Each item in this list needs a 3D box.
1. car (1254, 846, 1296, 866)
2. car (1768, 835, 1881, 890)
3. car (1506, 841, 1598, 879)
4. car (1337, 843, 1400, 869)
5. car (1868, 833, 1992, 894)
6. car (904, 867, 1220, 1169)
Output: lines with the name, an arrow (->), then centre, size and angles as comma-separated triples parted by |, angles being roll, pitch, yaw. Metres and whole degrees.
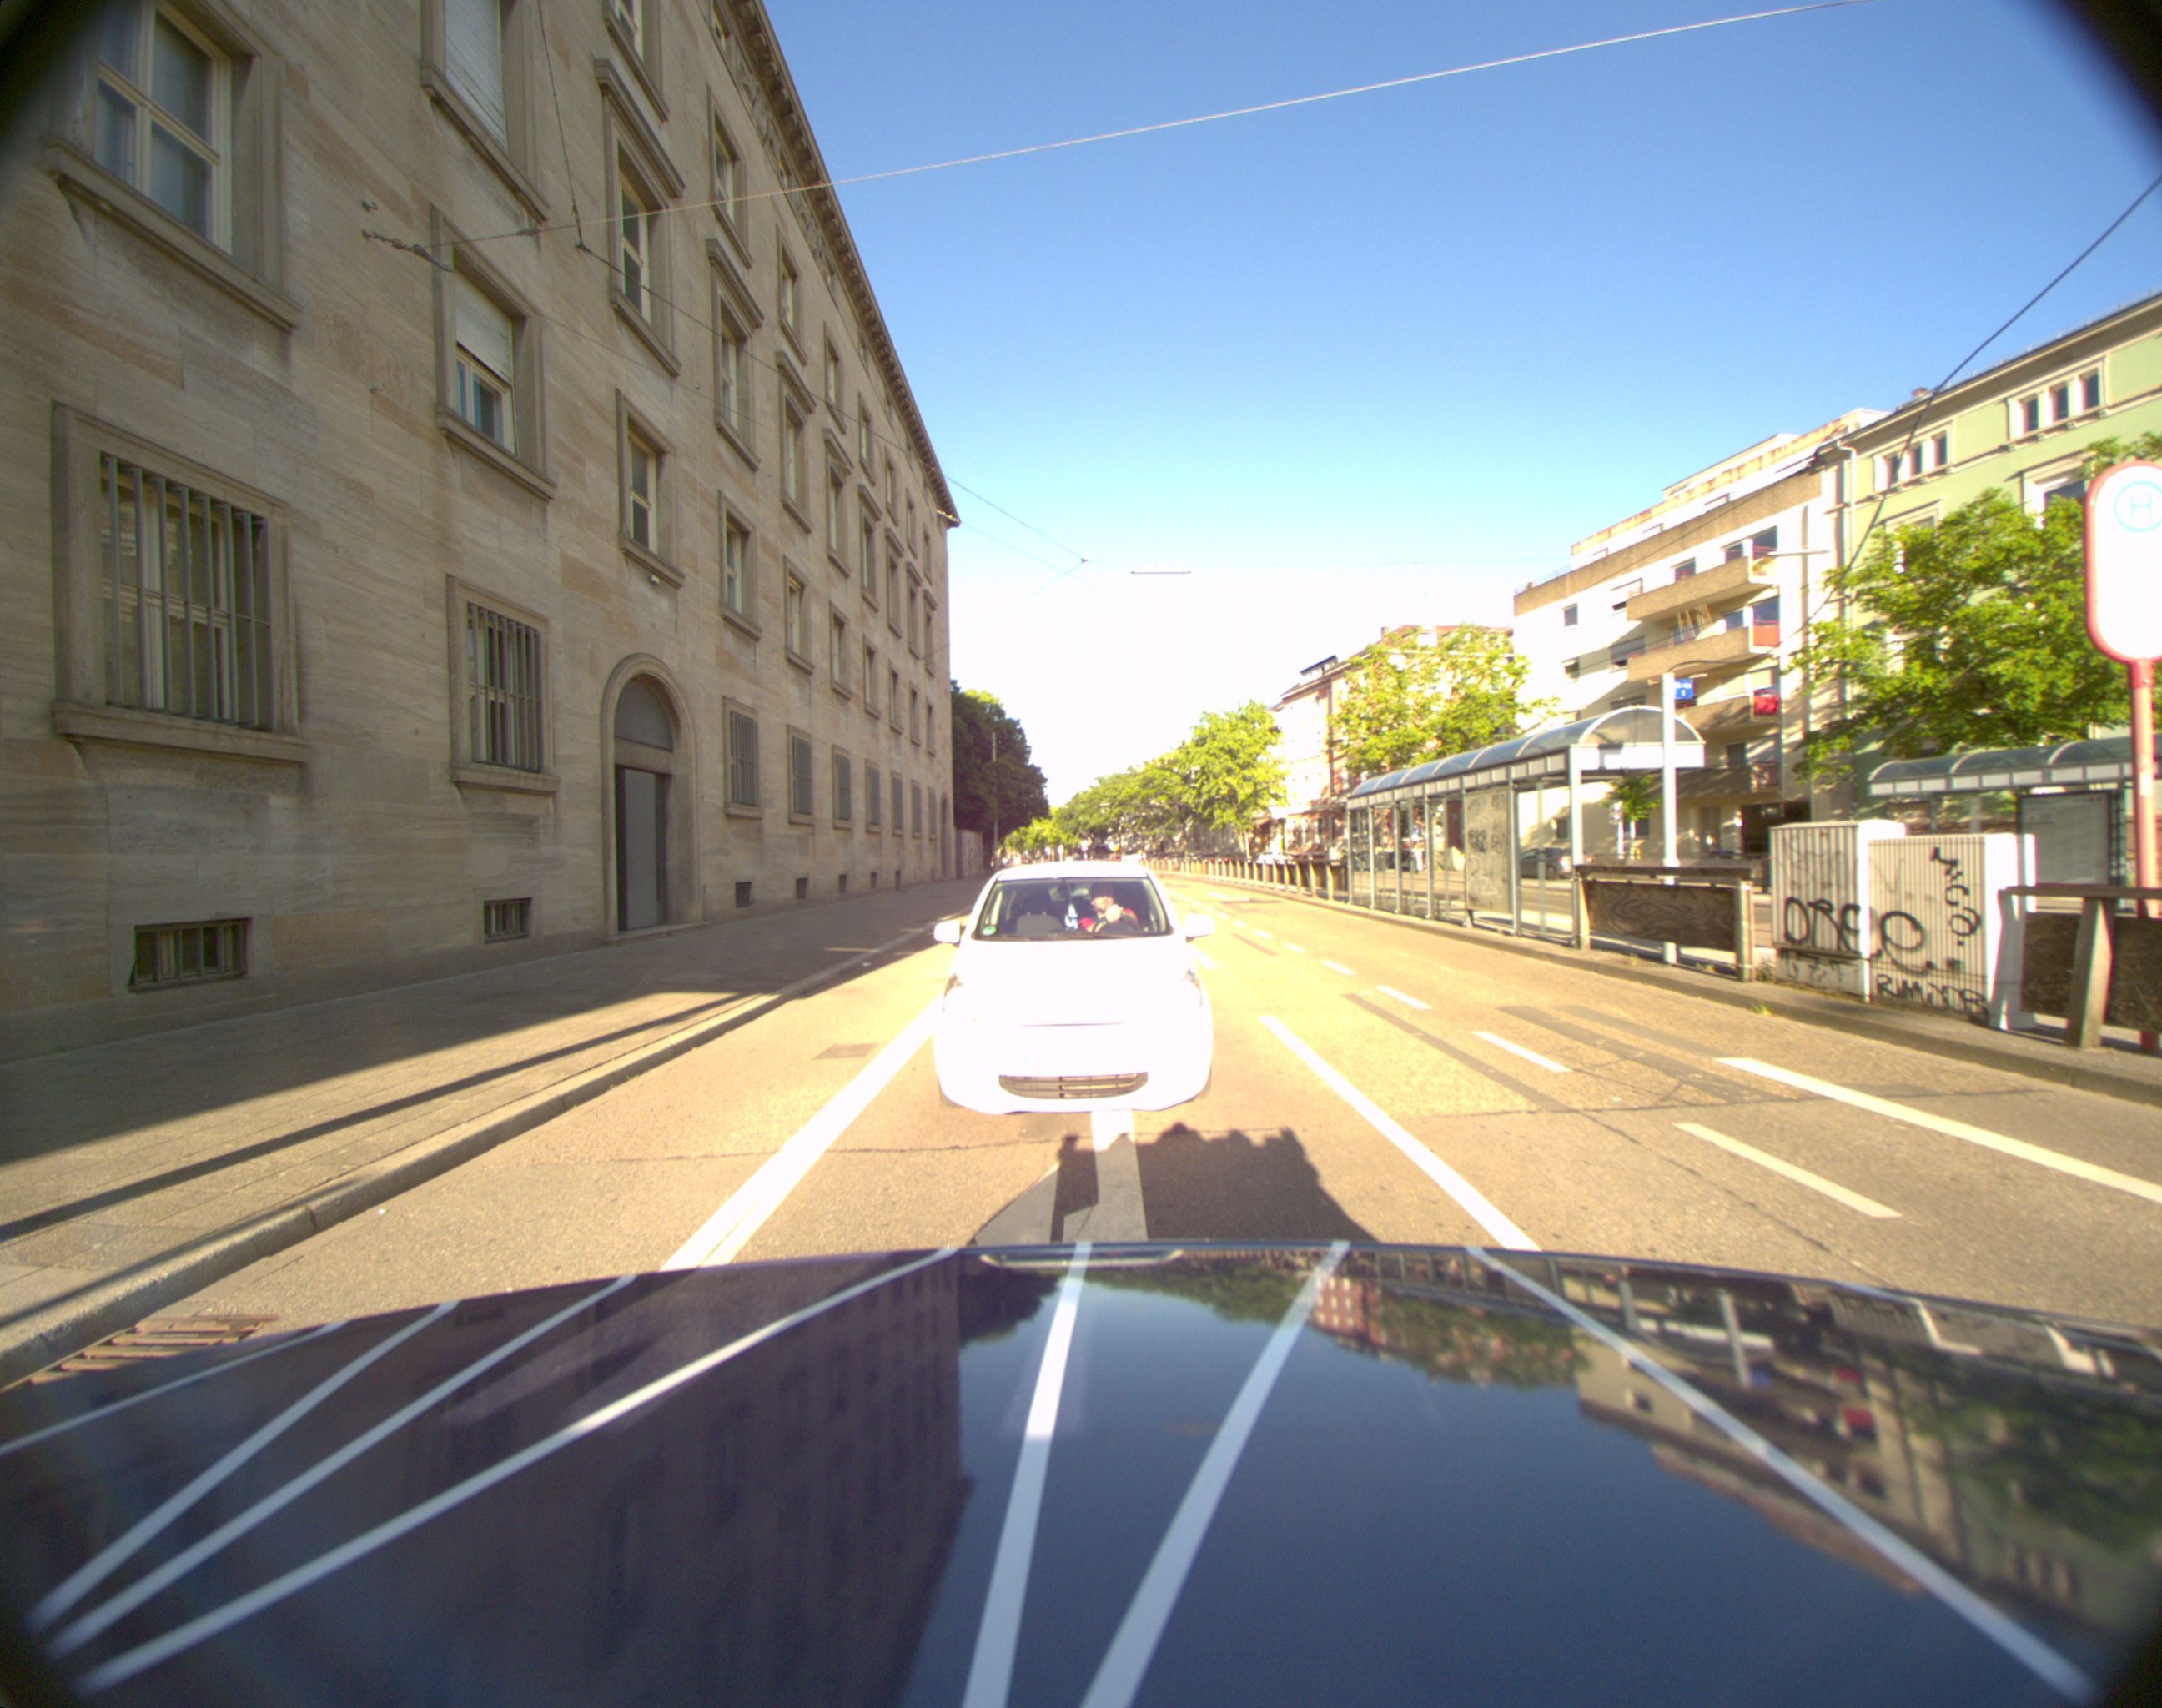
car -> 16.260, 0.158, 63.478 | 3.607, 1.558, 1.627 | -3, 1, -42
car -> 23.885, 0.228, 24.403 | 3.605, 1.558, 1.627 | -3, 1, -29
car -> 20.916, 0.235, 33.933 | 1.631, 1.558, 3.598 | -2, 1, -5
car -> 19.545, 0.127, 51.724 | 3.599, 1.558, 1.630 | -2, 1, -7
car -> 24.463, 0.234, 21.891 | 3.605, 1.558, 1.627 | -3, 1, -29
car -> -0.074, 0.899, 5.810 | 1.612, 1.462, 3.631 | -2, 0, 1
